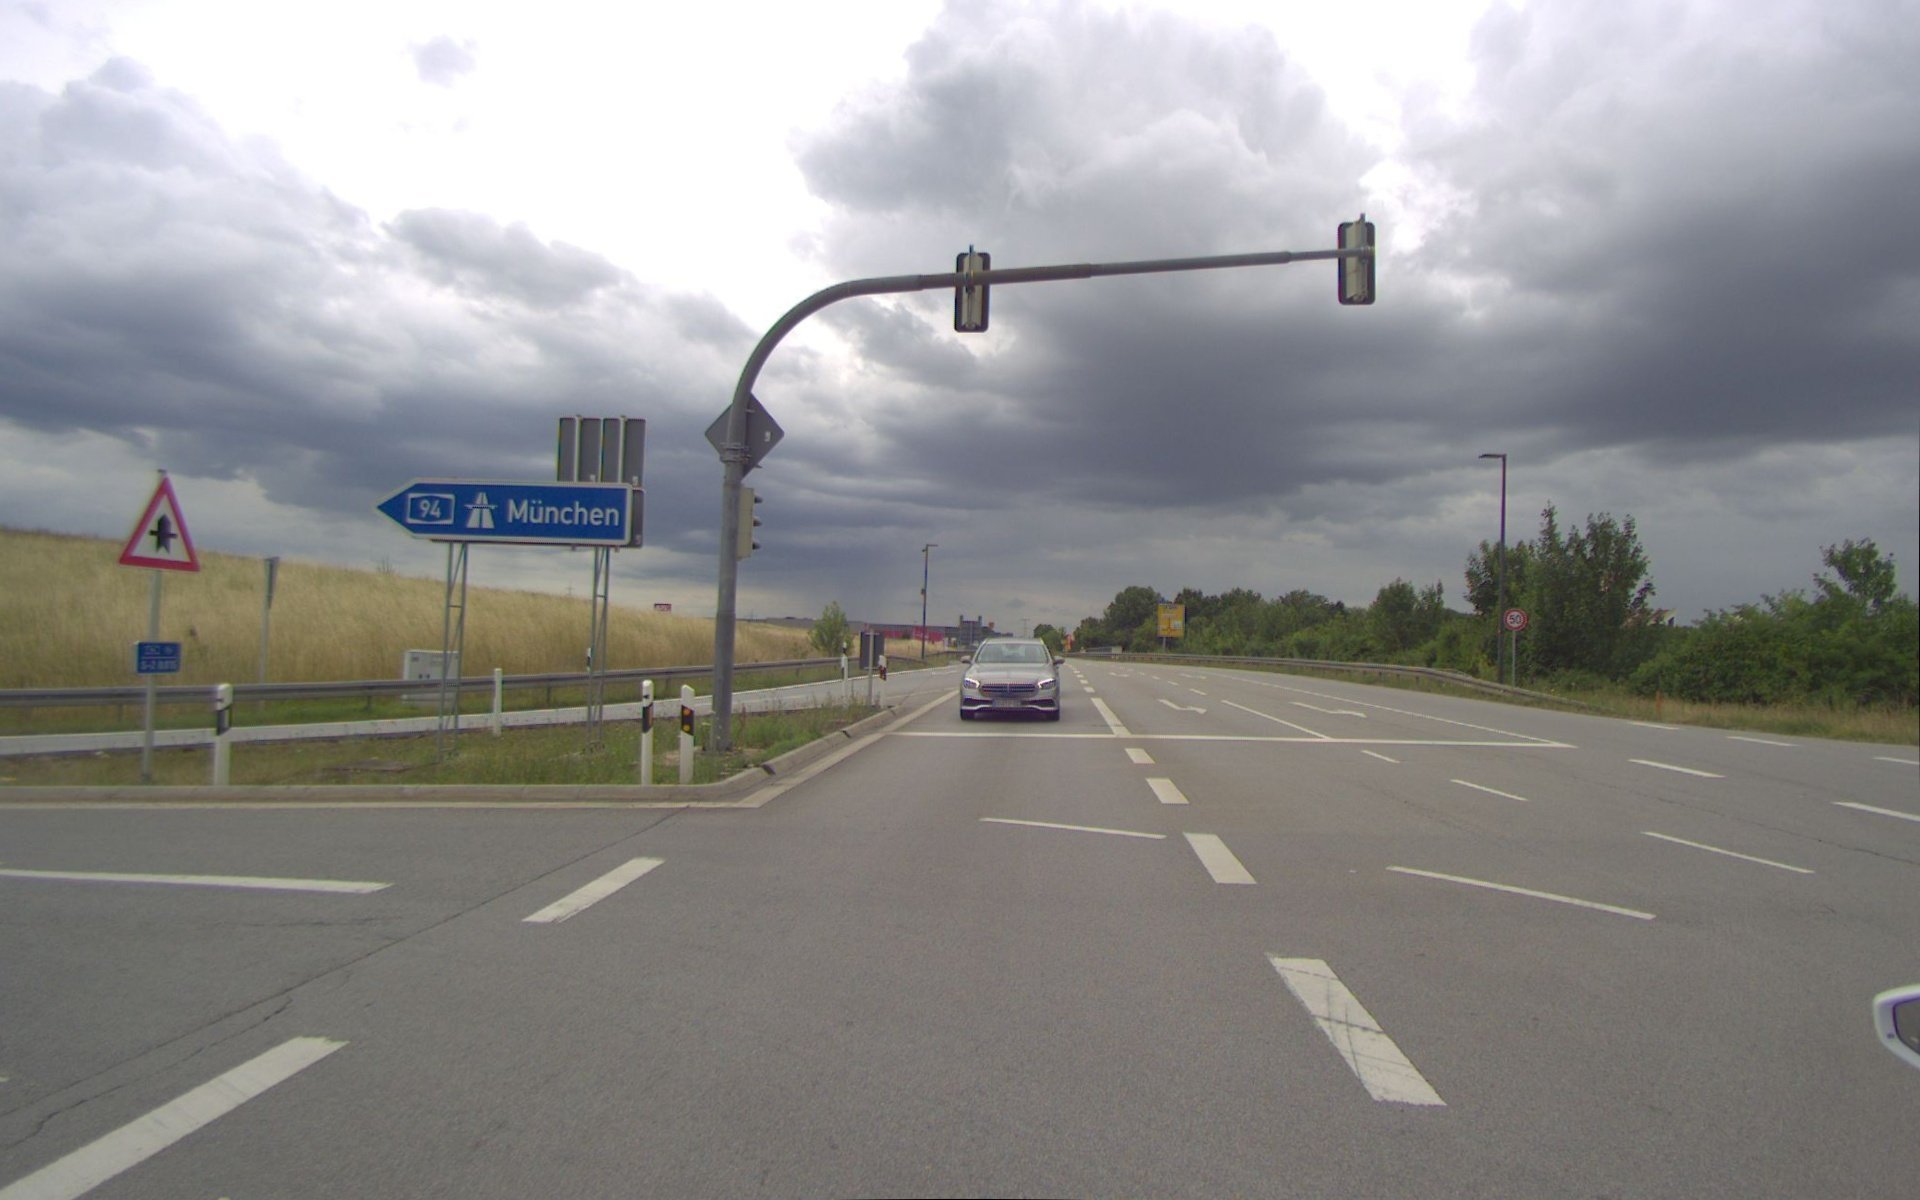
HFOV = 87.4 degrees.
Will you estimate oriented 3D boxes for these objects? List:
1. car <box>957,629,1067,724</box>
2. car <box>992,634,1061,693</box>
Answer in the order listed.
[{"bbox_3d":[1.067,1.404,19.685,1.882,1.631,4.952,0,-2,4],"label":"car"},{"bbox_3d":[1.828,1.702,27.453,1.678,1.429,4.678,1,-3,4],"label":"car"}]
